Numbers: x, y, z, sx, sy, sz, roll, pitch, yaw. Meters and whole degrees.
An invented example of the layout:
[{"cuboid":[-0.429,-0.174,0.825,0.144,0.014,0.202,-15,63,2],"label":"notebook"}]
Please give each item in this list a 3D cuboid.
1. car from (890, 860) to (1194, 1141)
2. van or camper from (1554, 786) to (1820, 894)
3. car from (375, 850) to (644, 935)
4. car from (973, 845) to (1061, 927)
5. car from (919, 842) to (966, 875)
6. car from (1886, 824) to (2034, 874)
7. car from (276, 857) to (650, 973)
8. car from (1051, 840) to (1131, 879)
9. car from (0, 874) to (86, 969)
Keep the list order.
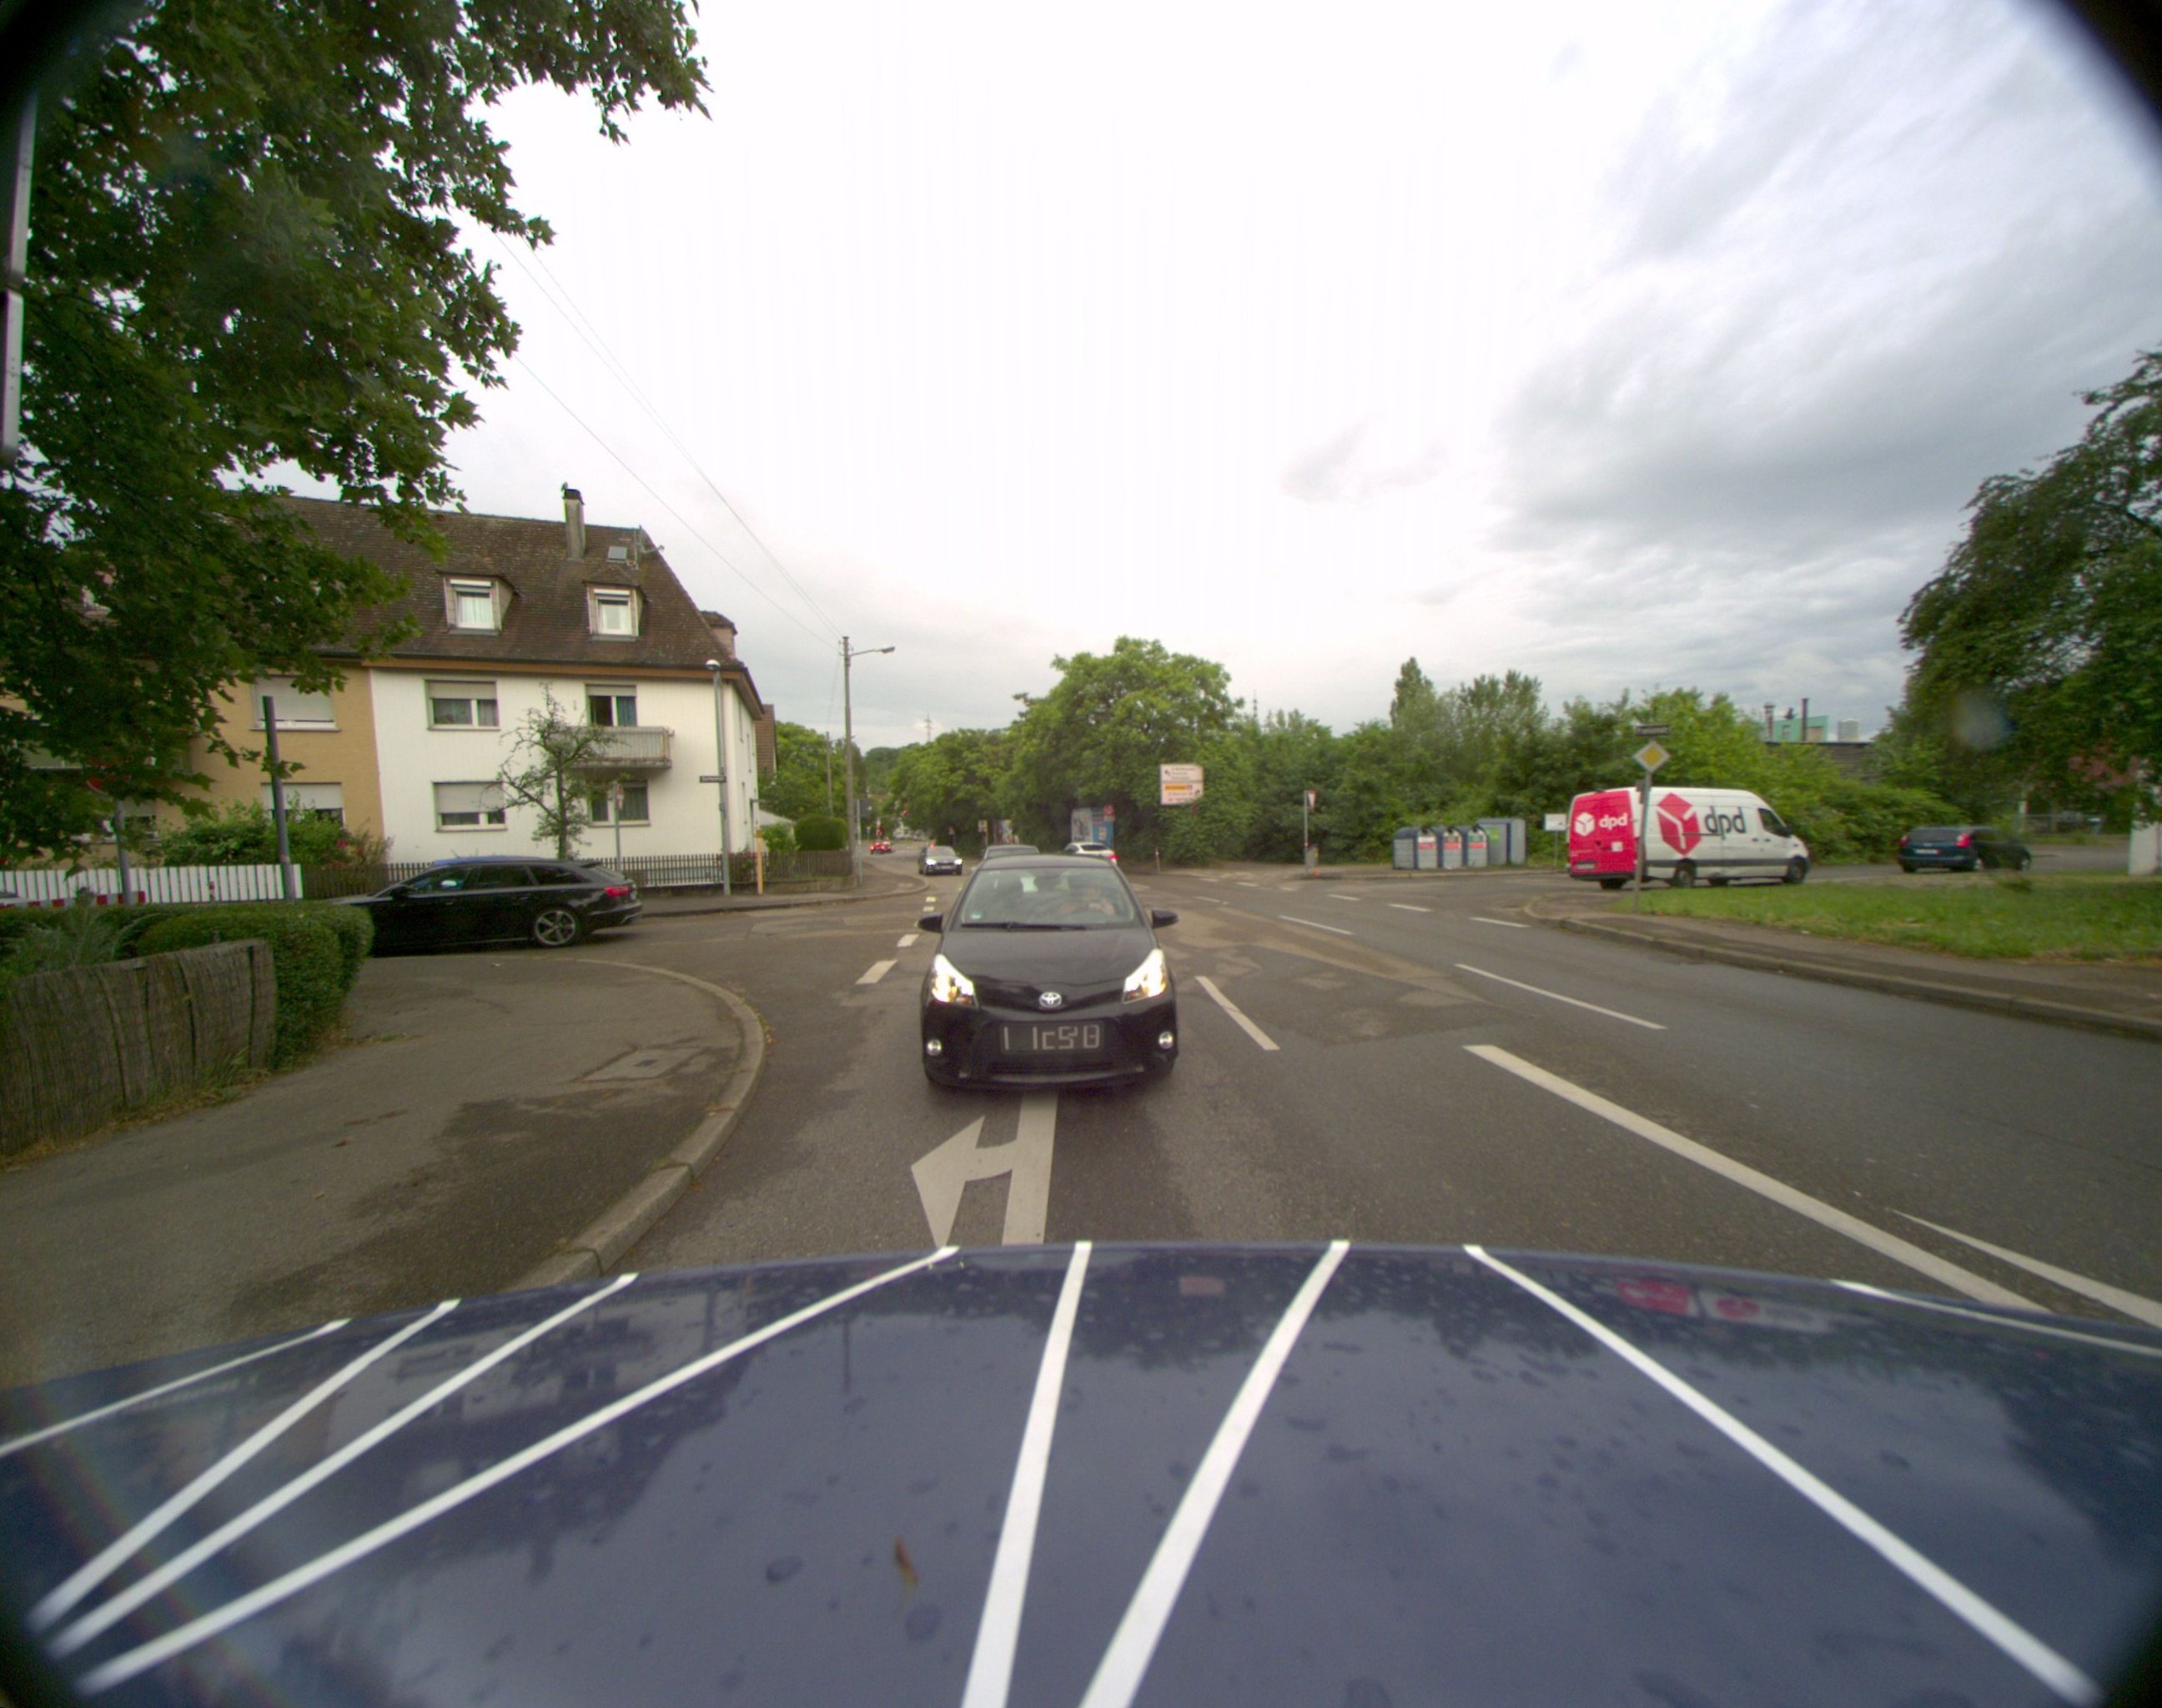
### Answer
[{"cuboid":[-0.331,0.829,6.246,1.645,1.450,3.998,-2,0,-4],"label":"car"},{"cuboid":[15.861,-0.435,19.871,6.703,2.508,2.219,-2,1,-19],"label":"van or camper"},{"cuboid":[-11.344,0.693,15.475,4.004,1.456,1.857,-1,1,-23],"label":"car"},{"cuboid":[-1.408,0.604,16.595,1.645,1.549,3.626,-2,1,-5],"label":"car"},{"cuboid":[-6.999,0.197,38.161,1.710,1.549,3.993,-2,1,-19],"label":"car"},{"cuboid":[30.111,-0.184,26.046,4.072,1.521,1.996,-2,1,-20],"label":"car"},{"cuboid":[-9.890,0.884,12.695,4.397,1.505,1.996,-2,1,-22],"label":"car"},{"cuboid":[0.313,0.202,33.406,1.843,1.549,5.564,-2,1,-17],"label":"car"},{"cuboid":[-19.794,1.183,12.076,4.396,1.505,1.996,-2,1,-19],"label":"car"}]
